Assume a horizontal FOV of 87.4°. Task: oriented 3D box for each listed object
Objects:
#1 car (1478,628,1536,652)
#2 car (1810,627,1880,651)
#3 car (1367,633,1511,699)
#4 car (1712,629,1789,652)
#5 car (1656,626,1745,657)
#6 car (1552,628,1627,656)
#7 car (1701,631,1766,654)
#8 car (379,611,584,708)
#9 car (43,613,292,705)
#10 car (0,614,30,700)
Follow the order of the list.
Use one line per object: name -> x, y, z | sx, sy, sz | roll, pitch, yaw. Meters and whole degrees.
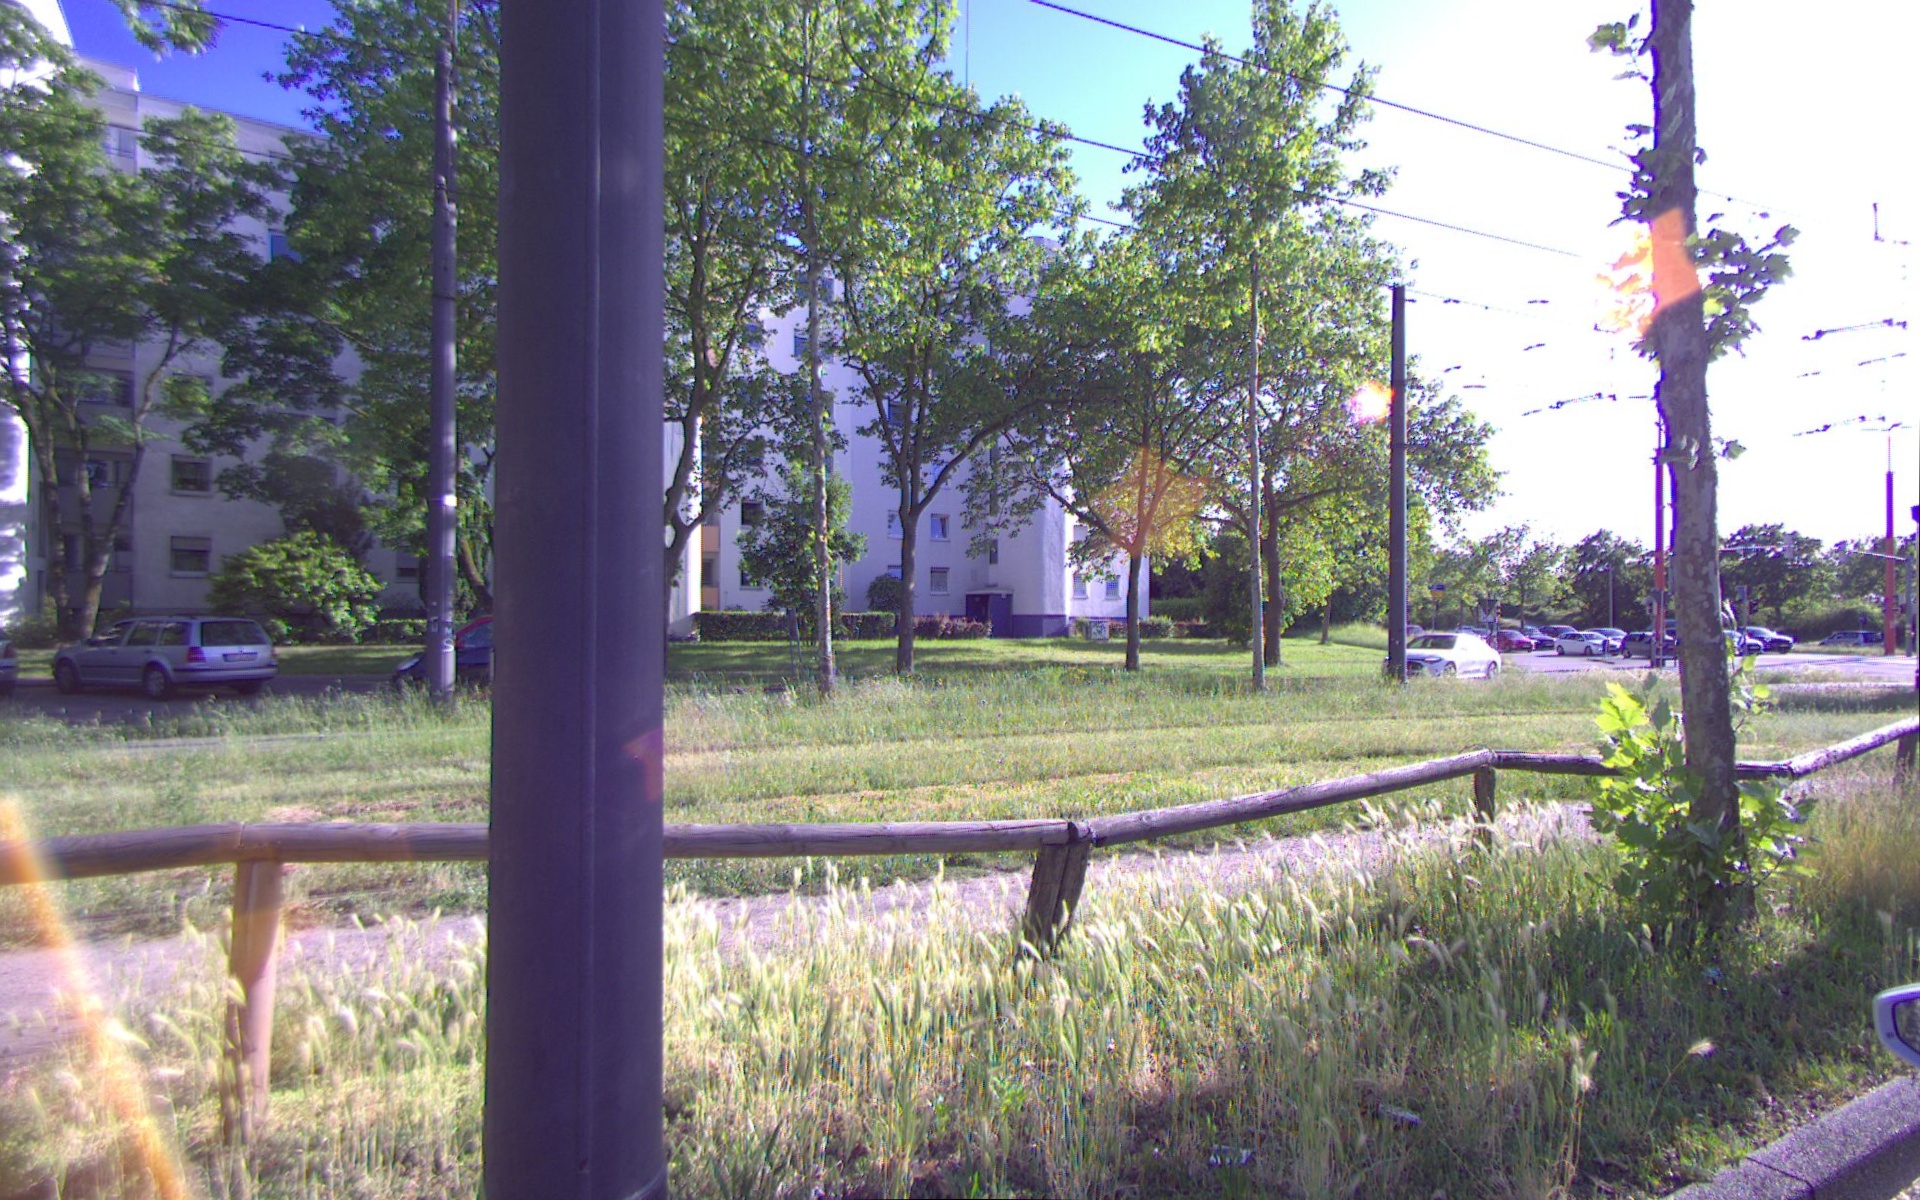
car -> 38.290, 2.783, 70.400 | 1.699, 1.533, 3.998 | 1, -1, -4
car -> 58.860, 2.592, 66.877 | 1.437, 1.476, 3.402 | 1, -1, -6
car -> 14.105, 1.863, 29.459 | 4.804, 1.754, 1.978 | 2, -1, -39
car -> 48.574, 2.470, 61.838 | 1.664, 1.347, 4.001 | 1, -1, 2
car -> 42.520, 2.339, 57.802 | 1.962, 1.666, 3.997 | 1, -1, -5
car -> 39.020, 2.576, 62.385 | 1.833, 1.633, 4.185 | 1, -1, -4
car -> 45.870, 2.508, 59.615 | 1.499, 1.214, 3.171 | 1, -1, 2
car -> -7.663, 0.909, 16.098 | 2.816, 1.409, 1.790 | 1, -1, -30
car -> -14.544, 1.022, 18.465 | 3.898, 1.462, 1.710 | 1, 0, 18
car -> -17.960, 0.940, 17.119 | 3.547, 1.439, 1.576 | 1, 0, 18
